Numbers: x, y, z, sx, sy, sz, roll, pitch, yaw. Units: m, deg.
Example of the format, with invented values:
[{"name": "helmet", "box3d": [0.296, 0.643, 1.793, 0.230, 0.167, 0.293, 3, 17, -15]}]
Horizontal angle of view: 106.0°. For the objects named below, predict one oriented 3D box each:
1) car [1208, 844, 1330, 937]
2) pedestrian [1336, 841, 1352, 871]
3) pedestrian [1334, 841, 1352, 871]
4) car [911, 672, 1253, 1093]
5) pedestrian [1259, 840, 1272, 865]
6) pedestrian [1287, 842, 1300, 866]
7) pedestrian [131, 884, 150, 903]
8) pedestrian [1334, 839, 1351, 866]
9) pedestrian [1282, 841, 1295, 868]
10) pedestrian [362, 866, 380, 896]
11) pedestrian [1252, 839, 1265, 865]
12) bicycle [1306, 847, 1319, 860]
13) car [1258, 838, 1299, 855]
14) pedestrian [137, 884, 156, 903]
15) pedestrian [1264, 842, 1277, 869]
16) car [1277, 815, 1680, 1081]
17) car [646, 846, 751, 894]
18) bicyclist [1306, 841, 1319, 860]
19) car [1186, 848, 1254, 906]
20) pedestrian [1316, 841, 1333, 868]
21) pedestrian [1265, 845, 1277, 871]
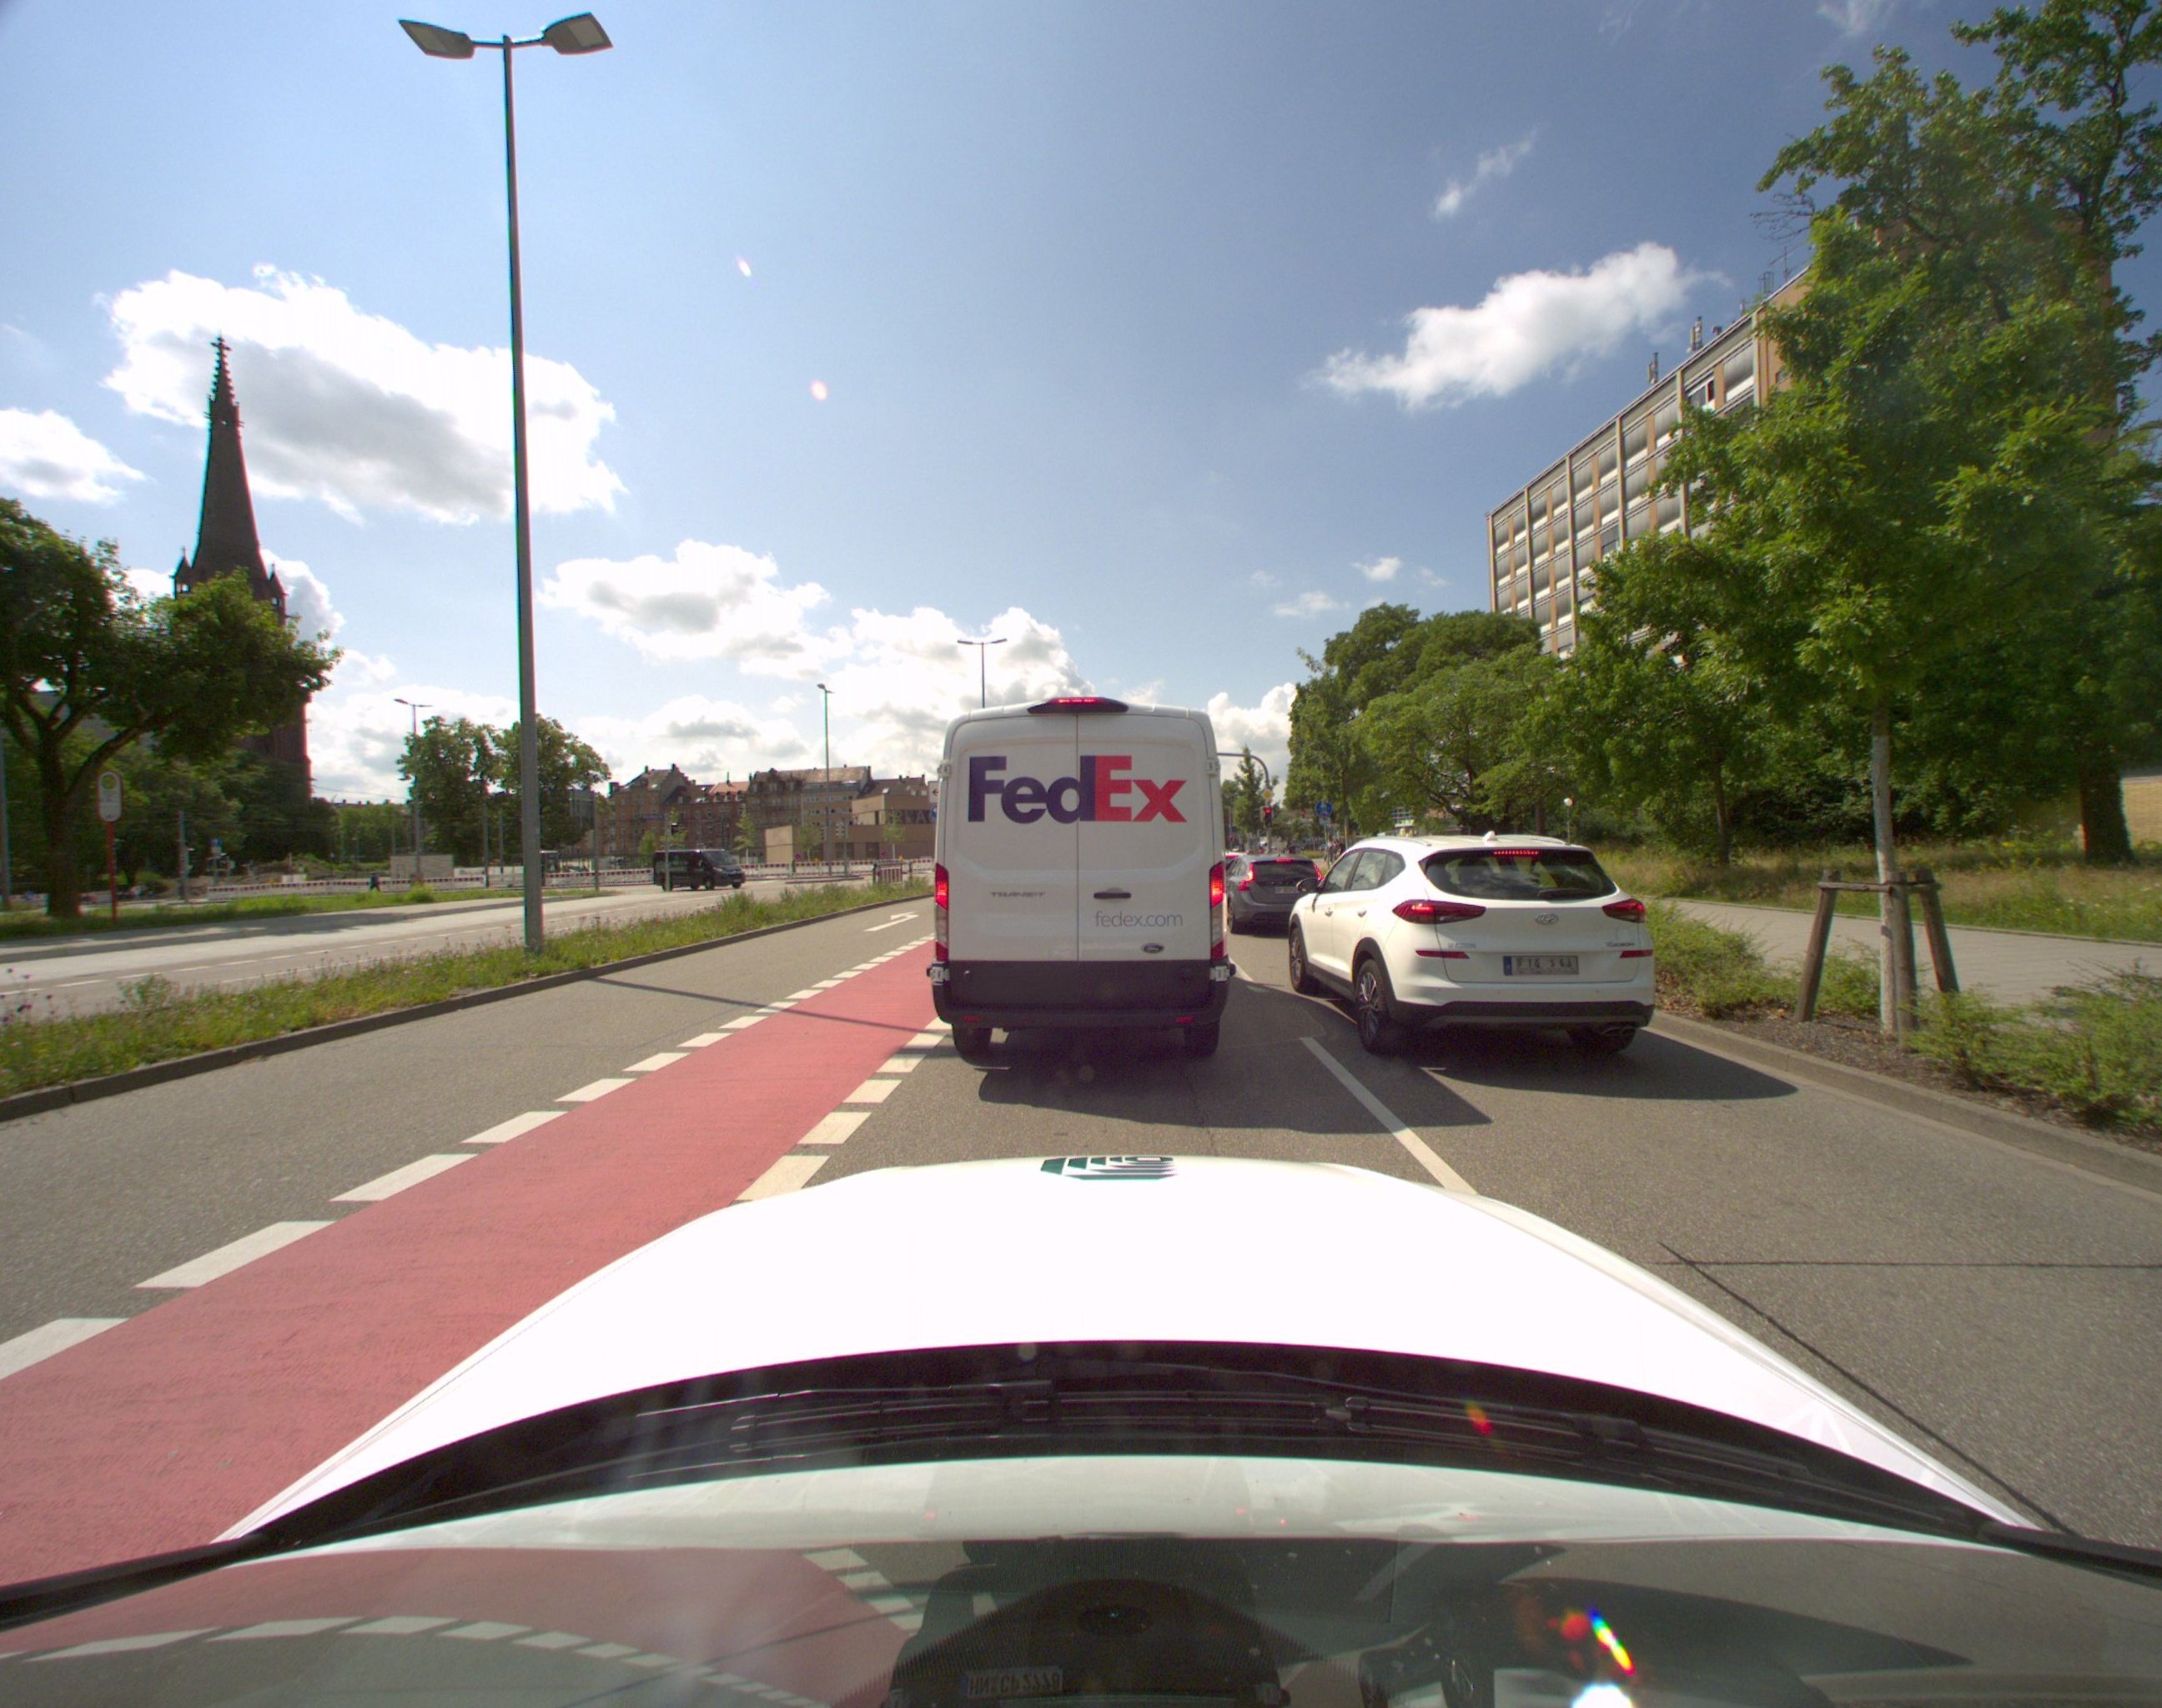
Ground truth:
[{"name": "car", "box3d": [3.520, 0.617, 15.876, 1.684, 1.549, 3.724, -2, 0, 3]}, {"name": "pedestrian", "box3d": [16.615, 0.127, 51.422, 0.756, 1.849, 0.817, -2, 0, 2]}, {"name": "pedestrian", "box3d": [14.814, 0.126, 46.053, 0.755, 1.655, 0.817, -2, 0, 5]}, {"name": "car", "box3d": [0.132, 0.173, 7.312, 2.064, 2.581, 4.432, -2, 0, 3]}, {"name": "pedestrian", "box3d": [13.985, -0.098, 61.670, 0.756, 1.849, 0.816, -2, 0, -1]}, {"name": "pedestrian", "box3d": [16.299, -0.015, 62.446, 0.755, 1.849, 0.817, -2, 0, 5]}, {"name": "pedestrian", "box3d": [-84.540, 3.540, 73.209, 0.860, 1.663, 0.745, -2, 0, -29]}, {"name": "pedestrian", "box3d": [17.896, -0.094, 55.754, 0.758, 1.849, 0.814, -2, 0, -6]}, {"name": "pedestrian", "box3d": [14.738, 0.047, 57.907, 0.752, 1.849, 0.820, -2, 0, 20]}, {"name": "pedestrian", "box3d": [-49.808, 1.887, 57.122, 0.644, 2.013, 0.632, -2, 0, -1]}, {"name": "pedestrian", "box3d": [13.043, -0.129, 59.801, 0.810, 1.849, 0.762, -2, 0, 5]}, {"name": "bicycle", "box3d": [27.465, -0.065, 96.559, 1.414, 1.464, 4.330, -2, 0, 17]}, {"name": "car", "box3d": [32.890, -1.292, 135.600, 7.111, 2.717, 2.470, 0, -1, -34]}, {"name": "pedestrian", "box3d": [-84.848, 3.606, 73.962, 0.860, 1.663, 0.745, -2, 0, -29]}, {"name": "pedestrian", "box3d": [13.152, 0.103, 56.540, 0.752, 1.849, 0.820, -2, 0, 20]}, {"name": "car", "box3d": [3.040, 0.599, 7.254, 1.807, 1.678, 3.978, -2, 0, 3]}, {"name": "car", "box3d": [-20.434, 0.853, 43.489, 4.958, 2.175, 2.167, -4, 0, 23]}, {"name": "bicyclist", "box3d": [27.455, -0.416, 96.579, 1.421, 2.171, 1.345, -2, 0, 17]}, {"name": "car", "box3d": [3.886, 0.593, 23.192, 1.493, 1.464, 3.477, -2, 0, 3]}, {"name": "pedestrian", "box3d": [16.571, 0.035, 55.486, 0.758, 1.849, 0.814, -2, 0, -8]}, {"name": "pedestrian", "box3d": [13.715, 0.315, 58.884, 0.753, 1.849, 0.820, -2, 0, 16]}]
